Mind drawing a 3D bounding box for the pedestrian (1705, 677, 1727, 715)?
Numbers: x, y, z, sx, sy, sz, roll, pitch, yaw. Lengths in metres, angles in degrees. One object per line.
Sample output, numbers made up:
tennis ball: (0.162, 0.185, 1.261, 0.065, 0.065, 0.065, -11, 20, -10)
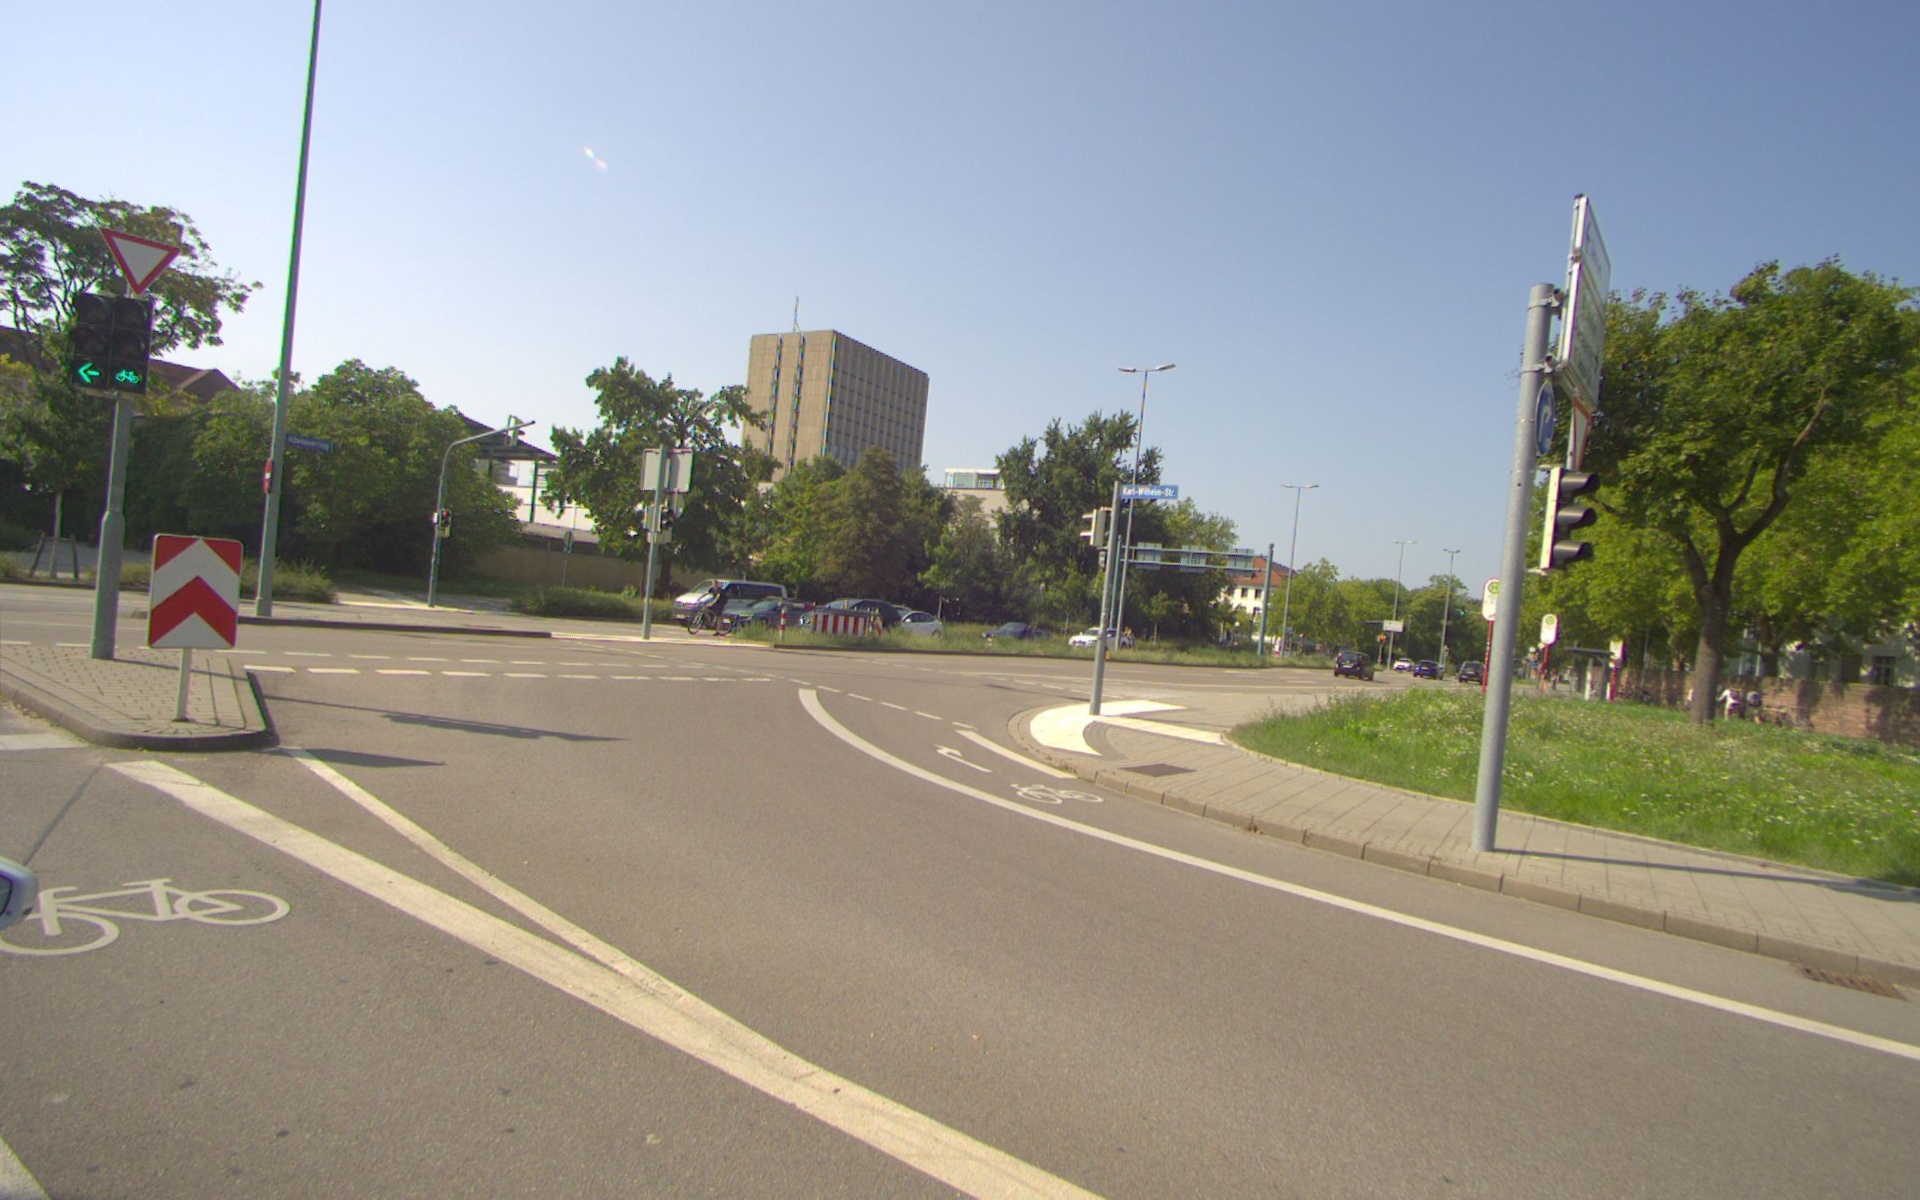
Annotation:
pedestrian: (35.246, 4.470, 46.890, 0.474, 1.671, 0.595, 7, -1, 16)

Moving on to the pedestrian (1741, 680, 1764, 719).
pedestrian: (34.611, 4.336, 43.928, 0.474, 1.671, 0.595, 7, -1, 16)

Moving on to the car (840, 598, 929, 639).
car: (-3.450, 0.869, 46.367, 1.784, 1.524, 3.951, 6, 0, 39)

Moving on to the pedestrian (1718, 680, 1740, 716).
pedestrian: (35.866, 4.576, 46.908, 0.525, 1.589, 0.503, 7, -1, 14)

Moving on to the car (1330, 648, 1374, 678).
car: (24.138, 3.868, 61.887, 1.683, 1.593, 3.991, 6, 0, 31)

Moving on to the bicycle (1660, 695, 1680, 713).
bicycle: (38.737, 5.657, 54.883, 0.426, 0.846, 1.549, 6, 0, 20)

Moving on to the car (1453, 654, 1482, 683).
car: (41.960, 5.722, 83.192, 1.886, 2.036, 3.999, 7, -2, 26)

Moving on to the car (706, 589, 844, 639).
car: (-6.738, 0.558, 37.214, 1.884, 1.418, 4.899, 6, 0, 39)

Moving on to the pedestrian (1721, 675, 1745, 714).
pedestrian: (33.857, 4.132, 44.063, 0.510, 1.671, 0.595, 7, -1, 16)

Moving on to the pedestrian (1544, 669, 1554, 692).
pedestrian: (45.969, 6.261, 78.484, 0.478, 1.760, 0.504, 6, -1, 32)

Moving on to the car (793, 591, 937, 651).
car: (-3.041, 0.721, 33.064, 1.828, 1.598, 4.692, 4, -1, 40)

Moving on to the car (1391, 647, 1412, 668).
car: (51.804, 6.735, 117.971, 1.886, 2.036, 3.999, 7, -2, 26)

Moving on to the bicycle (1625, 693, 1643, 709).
bicycle: (40.824, 6.106, 60.950, 0.426, 0.846, 1.549, 6, 0, 20)

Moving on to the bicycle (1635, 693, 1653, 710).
bicycle: (40.015, 5.915, 58.890, 0.426, 0.846, 1.549, 6, 0, 20)

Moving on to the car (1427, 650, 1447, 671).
car: (56.217, 7.152, 118.552, 1.886, 2.036, 3.999, 7, -2, 26)

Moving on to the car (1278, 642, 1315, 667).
car: (25.413, 4.135, 76.003, 1.683, 1.593, 3.991, 6, 0, 31)

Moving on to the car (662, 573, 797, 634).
car: (-8.899, 0.161, 39.270, 1.820, 1.898, 4.952, 6, 0, 39)

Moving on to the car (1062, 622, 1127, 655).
car: (7.692, 2.199, 57.076, 1.901, 1.524, 4.284, 6, 0, 33)

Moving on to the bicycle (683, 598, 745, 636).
bicycle: (-7.835, 0.553, 32.090, 0.758, 1.066, 1.768, 7, 1, 37)

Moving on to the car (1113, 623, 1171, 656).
car: (11.355, 2.475, 62.593, 1.901, 1.680, 4.284, 6, 0, 33)

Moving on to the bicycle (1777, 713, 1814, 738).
bicycle: (35.268, 5.277, 42.487, 0.425, 0.846, 1.550, 6, 0, 11)

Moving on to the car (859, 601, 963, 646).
car: (-2.059, 1.046, 43.587, 1.971, 1.524, 4.416, 6, 0, 39)

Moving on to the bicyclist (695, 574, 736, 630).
bicyclist: (-7.794, 0.062, 32.070, 0.737, 1.656, 0.872, 7, 1, 37)

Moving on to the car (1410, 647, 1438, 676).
car: (38.756, 5.192, 83.985, 1.886, 2.036, 3.999, 7, -2, 26)

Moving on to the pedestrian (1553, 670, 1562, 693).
pedestrian: (46.532, 6.330, 78.330, 0.478, 1.760, 0.504, 6, -1, 32)

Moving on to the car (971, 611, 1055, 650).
car: (2.671, 1.523, 49.913, 1.971, 1.524, 4.277, 6, 0, 39)

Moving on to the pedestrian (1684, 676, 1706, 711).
pedestrian: (34.137, 4.341, 46.733, 0.525, 1.589, 0.503, 7, -1, 14)

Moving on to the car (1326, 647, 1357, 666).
car: (37.971, 5.642, 100.052, 1.901, 1.680, 4.284, 6, 0, 33)
